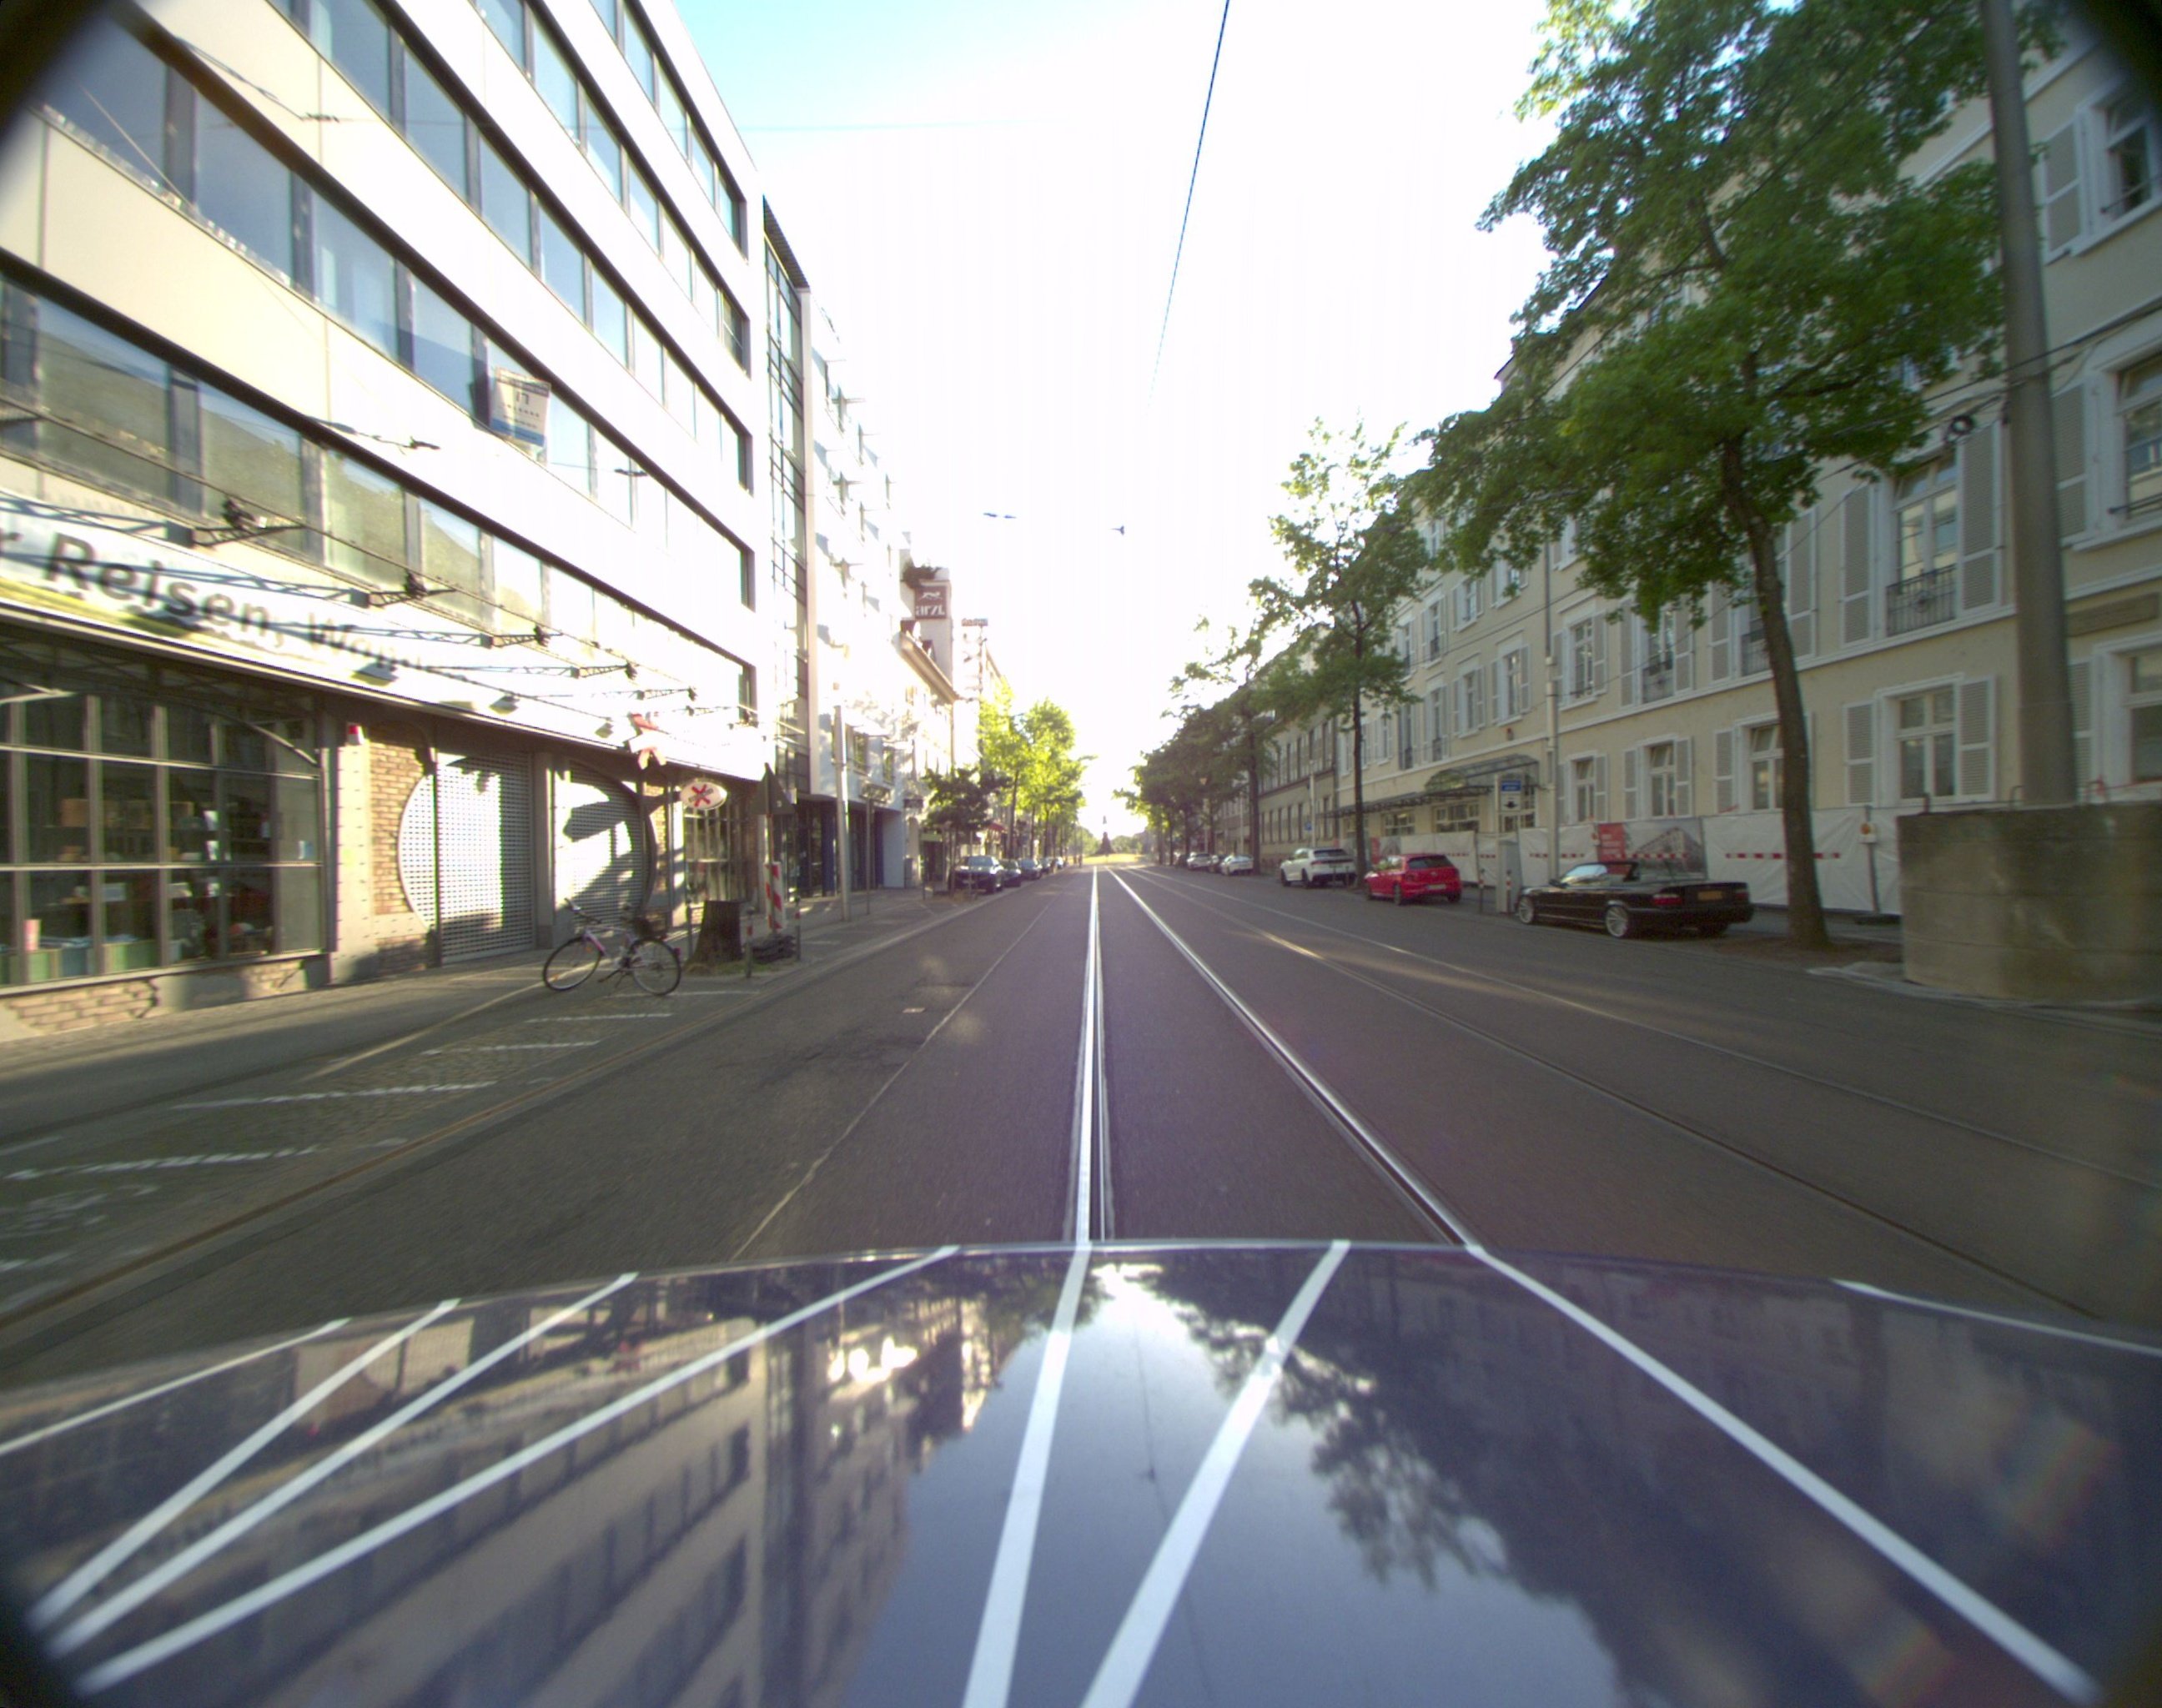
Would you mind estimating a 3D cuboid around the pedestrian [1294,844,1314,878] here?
[{"bbox_3d":[11.973,0.368,40.839,0.746,1.732,0.933,-4,1,2],"label":"pedestrian"}]

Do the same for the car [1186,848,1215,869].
[{"bbox_3d":[11.008,0.417,70.184,1.952,1.731,4.766,-4,0,1],"label":"car"}]

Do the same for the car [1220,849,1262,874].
[{"bbox_3d":[10.615,0.482,50.729,1.897,1.458,4.617,-4,0,2],"label":"car"}]

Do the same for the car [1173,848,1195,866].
[{"bbox_3d":[11.512,0.303,85.053,1.931,1.946,4.766,-1,0,1],"label":"car"}]

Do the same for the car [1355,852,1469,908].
[{"bbox_3d":[9.774,0.698,22.797,1.664,1.397,4.141,-4,0,2],"label":"car"}]

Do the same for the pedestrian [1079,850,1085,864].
[{"bbox_3d":[0.147,0.396,101.218,0.705,1.858,0.792,-2,1,-1],"label":"pedestrian"}]

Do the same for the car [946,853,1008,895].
[{"bbox_3d":[-4.536,0.843,33.947,1.985,1.679,4.874,1,0,1],"label":"car"}]

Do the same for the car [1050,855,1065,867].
[{"bbox_3d":[-2.834,0.784,92.922,1.564,1.391,3.698,1,0,1],"label":"car"}]

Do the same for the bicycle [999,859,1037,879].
[{"bbox_3d":[-4.003,0.968,48.305,2.325,1.181,0.751,-1,1,3],"label":"bicycle"}]

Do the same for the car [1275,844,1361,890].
[{"bbox_3d":[10.001,0.499,32.494,1.870,1.679,4.950,-4,0,-2],"label":"car"}]

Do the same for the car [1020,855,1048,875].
[{"bbox_3d":[-3.678,0.832,60.060,1.869,1.502,4.287,1,0,1],"label":"car"}]

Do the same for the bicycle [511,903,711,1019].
[{"bbox_3d":[-5.323,1.182,8.661,1.816,1.128,0.841,1,2,9],"label":"bicycle"}]

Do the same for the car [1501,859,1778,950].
[{"bbox_3d":[9.799,0.790,13.888,1.722,1.238,4.507,-4,0,1],"label":"car"}]

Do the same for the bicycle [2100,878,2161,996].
[{"bbox_3d":[11.273,0.831,7.033,0.760,1.115,2.045,-4,1,-10],"label":"bicycle"}]

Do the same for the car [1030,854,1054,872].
[{"bbox_3d":[-3.508,0.800,68.725,1.798,1.502,3.986,1,0,1],"label":"car"}]

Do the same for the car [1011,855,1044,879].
[{"bbox_3d":[-3.619,0.856,51.867,1.770,1.502,4.287,-2,0,2],"label":"car"}]

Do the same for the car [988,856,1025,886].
[{"bbox_3d":[-4.117,0.892,41.794,1.871,1.502,4.242,1,0,-7],"label":"car"}]

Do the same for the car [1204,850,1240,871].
[{"bbox_3d":[10.818,0.468,58.587,1.745,1.458,4.342,-4,0,-1],"label":"car"}]

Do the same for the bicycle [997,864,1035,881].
[{"bbox_3d":[-3.964,1.104,46.264,2.249,0.982,0.615,-1,1,3],"label":"bicycle"}]
